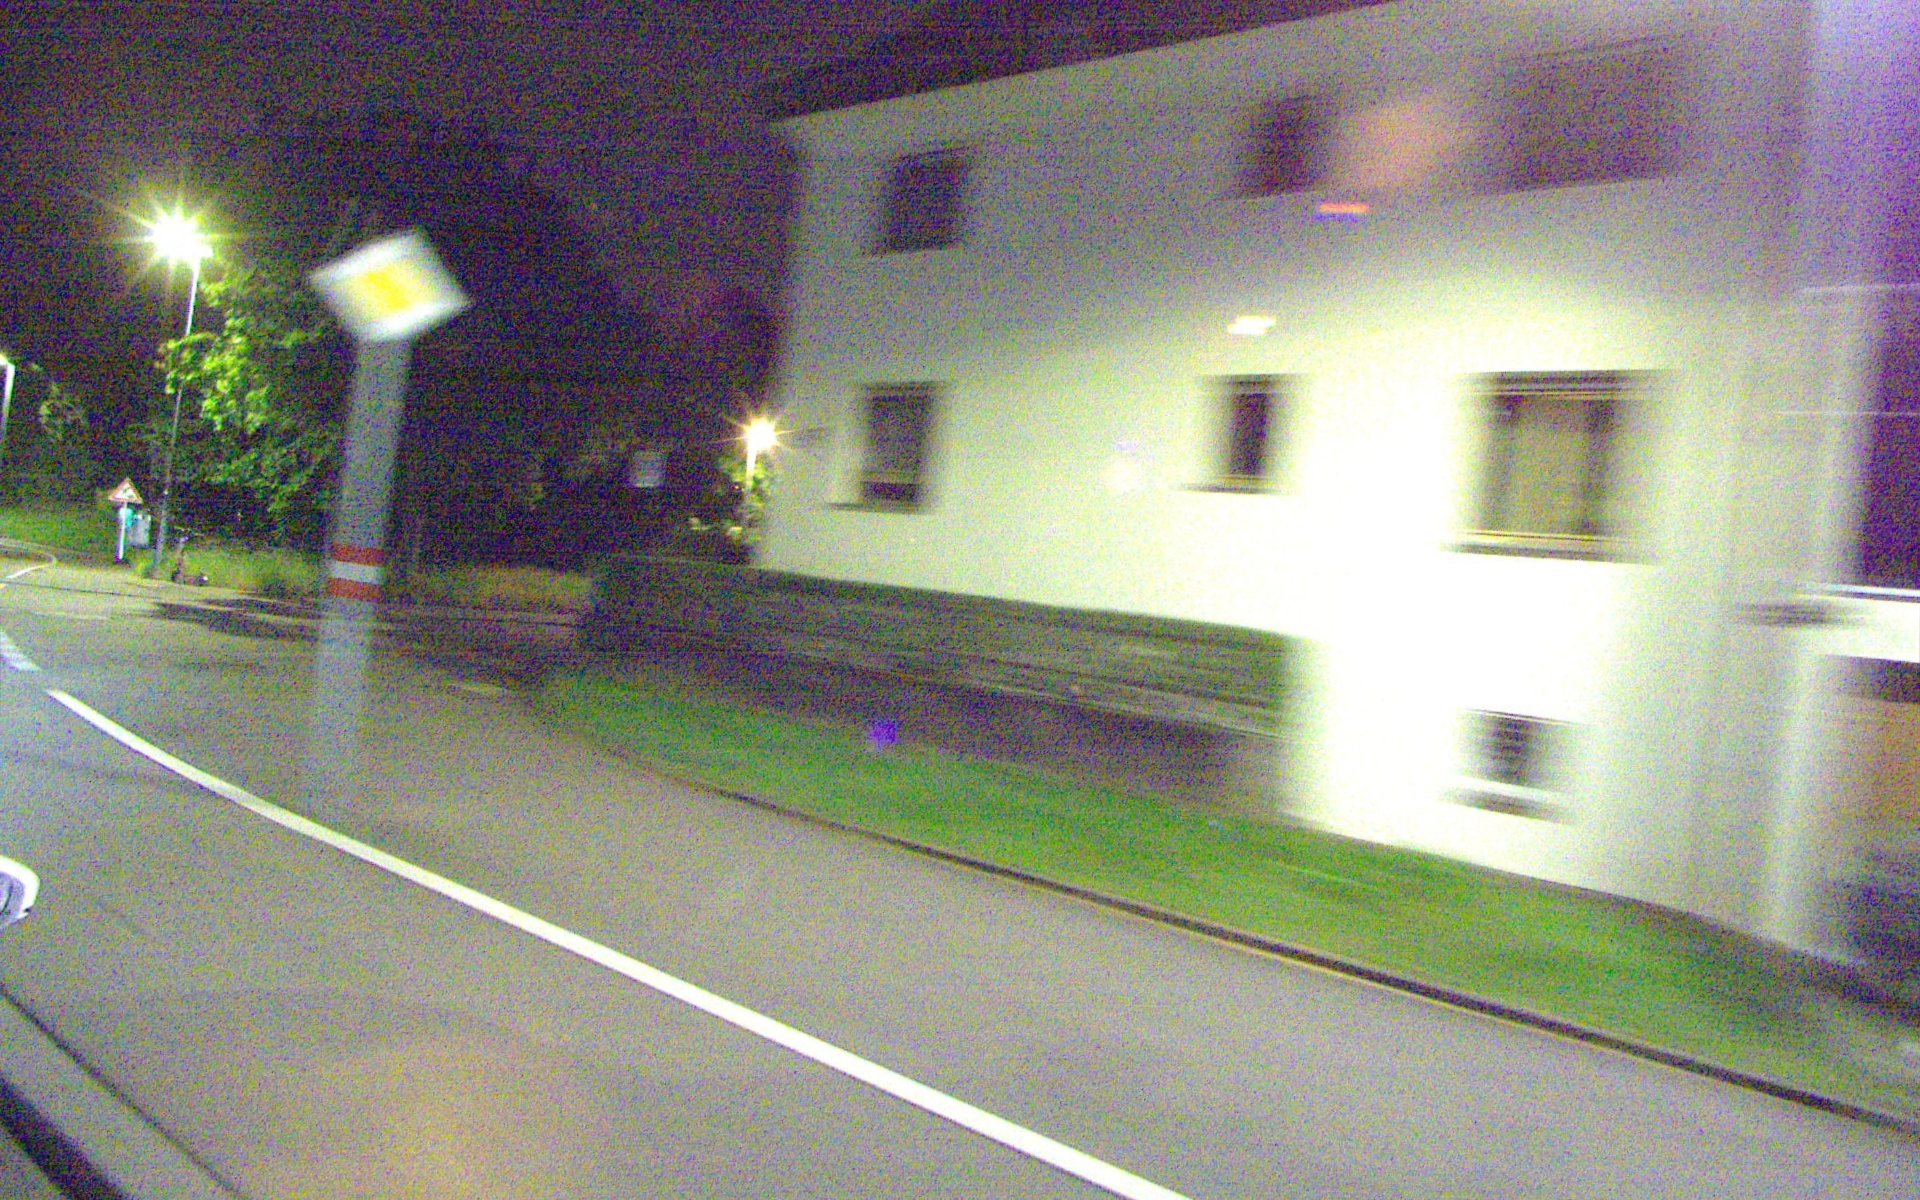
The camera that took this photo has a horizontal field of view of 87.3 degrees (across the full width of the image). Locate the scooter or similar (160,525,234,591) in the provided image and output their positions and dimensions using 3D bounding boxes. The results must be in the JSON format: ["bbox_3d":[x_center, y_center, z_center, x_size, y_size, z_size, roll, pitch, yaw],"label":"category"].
[{"bbox_3d":[-17.348,-0.969,22.878,1.661,1.296,0.613,7,-1,29],"label":"scooter or similar"}]

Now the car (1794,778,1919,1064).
[{"bbox_3d":[5.351,1.623,4.534,1.695,1.244,3.404,7,-4,29],"label":"car"}]
